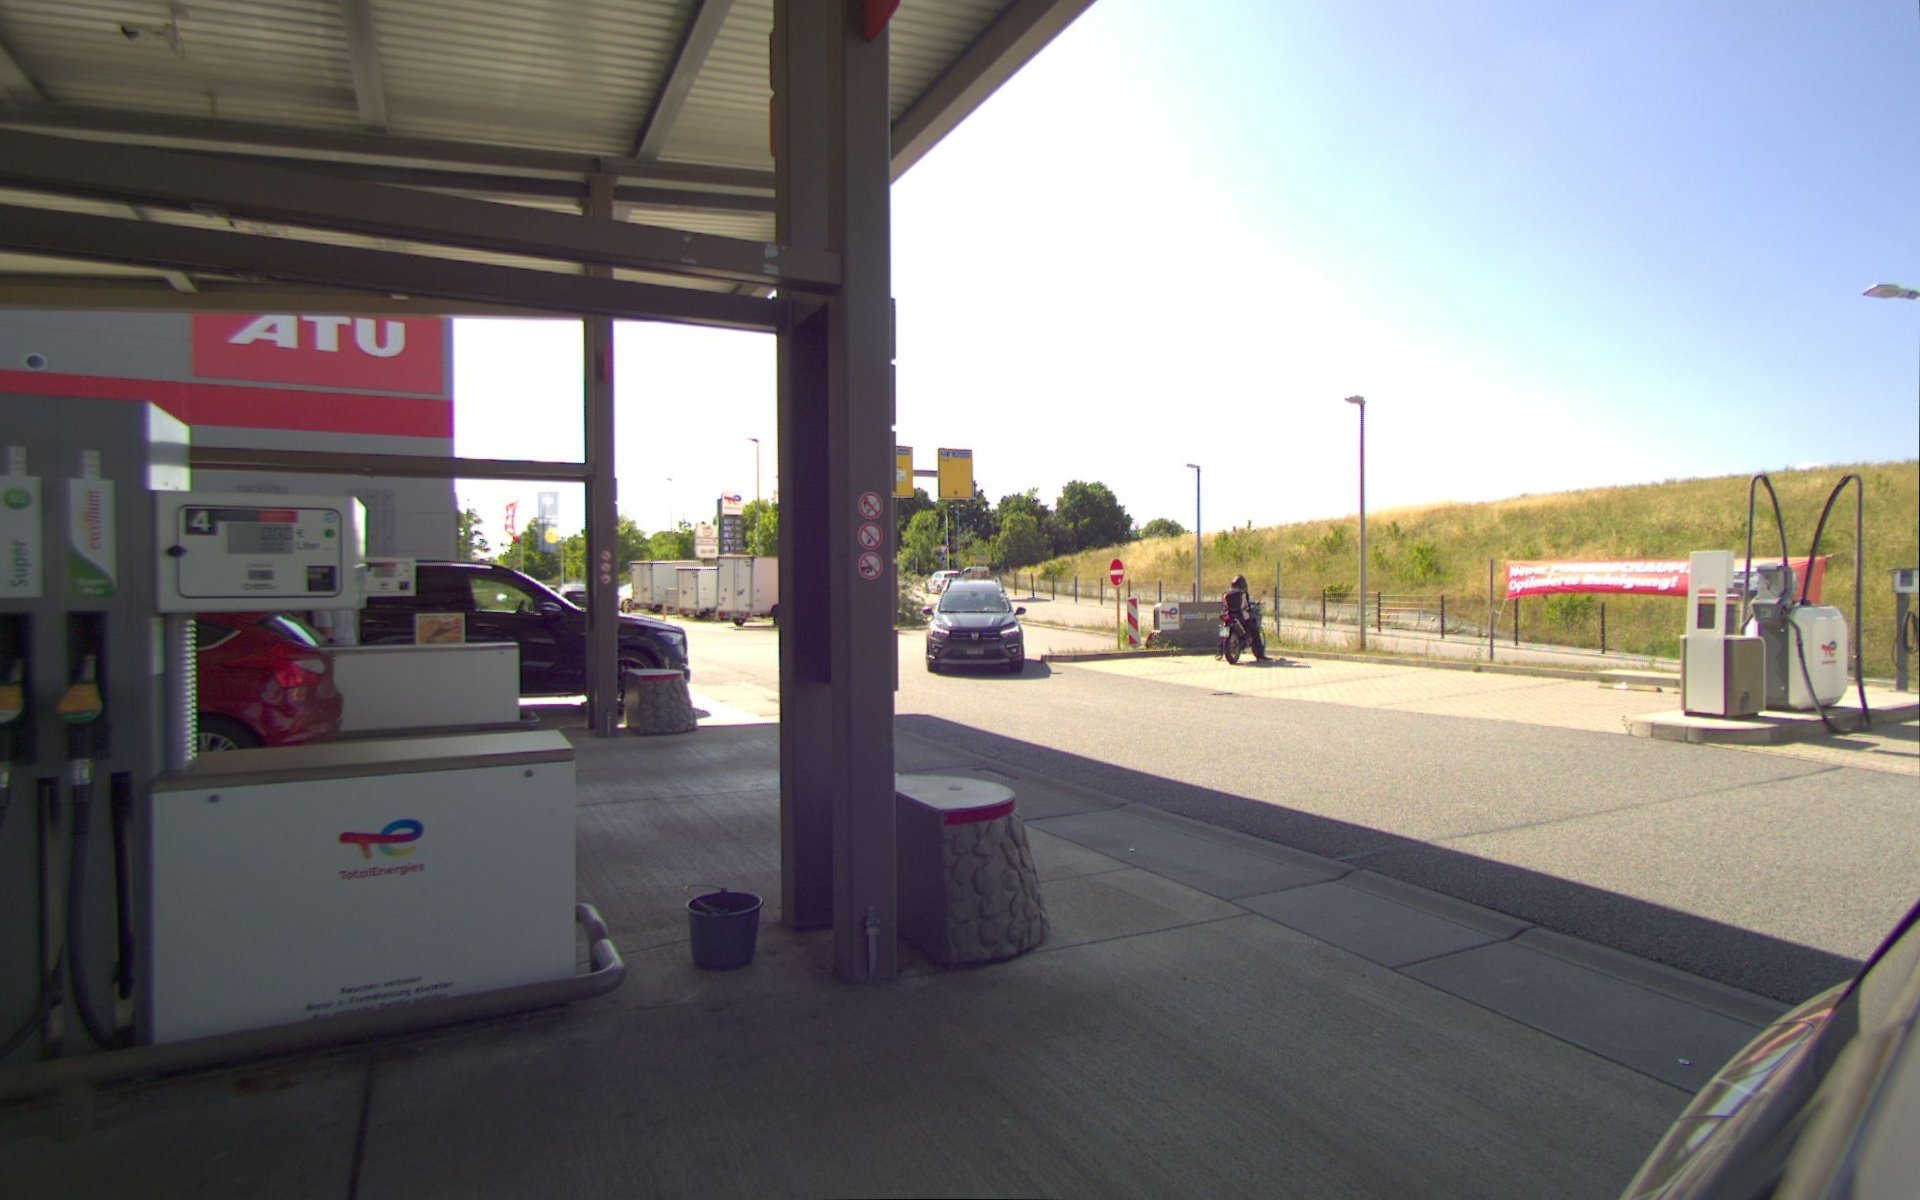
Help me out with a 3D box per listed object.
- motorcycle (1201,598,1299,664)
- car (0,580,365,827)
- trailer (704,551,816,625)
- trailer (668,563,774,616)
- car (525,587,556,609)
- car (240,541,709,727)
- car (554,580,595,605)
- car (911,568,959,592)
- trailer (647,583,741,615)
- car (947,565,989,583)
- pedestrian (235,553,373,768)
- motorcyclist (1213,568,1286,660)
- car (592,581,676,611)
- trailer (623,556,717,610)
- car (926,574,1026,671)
[{"bbox_3d":[5.680,0.560,19.694,1.040,1.119,2.383,1,2,38],"label":"motorcycle"},{"bbox_3d":[-6.414,0.612,6.733,4.146,1.487,1.706,0,1,-28],"label":"car"},{"bbox_3d":[-7.029,-0.433,35.892,1.979,2.457,3.966,1,1,25],"label":"trailer"},{"bbox_3d":[-9.576,-0.433,40.821,1.793,2.039,3.946,0,1,38],"label":"trailer"},{"bbox_3d":[-26.776,-0.141,64.587,1.647,1.319,3.731,0,1,-26],"label":"car"},{"bbox_3d":[-5.627,0.345,12.195,4.699,1.874,2.037,1,0,-28],"label":"car"},{"bbox_3d":[-21.390,-0.461,56.099,1.648,1.334,3.841,0,1,-29],"label":"car"},{"bbox_3d":[-1.602,-1.276,63.620,1.671,1.441,4.105,0,2,-21],"label":"car"},{"bbox_3d":[-11.214,-0.062,42.856,1.570,1.297,3.668,1,1,38],"label":"trailer"},{"bbox_3d":[0.885,-2.927,116.031,4.434,2.039,2.004,0,0,-11],"label":"car"},{"bbox_3d":[-5.561,0.475,8.634,0.909,1.724,0.704,0,0,-26],"label":"pedestrian"},{"bbox_3d":[5.599,0.253,19.578,1.029,1.709,1.084,1,1,38],"label":"motorcyclist"},{"bbox_3d":[-15.670,-0.221,48.789,1.667,1.334,3.797,1,1,29],"label":"car"},{"bbox_3d":[-13.655,-0.807,47.797,1.987,2.457,3.950,1,1,35],"label":"trailer"},{"bbox_3d":[0.415,0.350,19.640,1.712,1.665,4.628,0,1,4],"label":"car"}]
